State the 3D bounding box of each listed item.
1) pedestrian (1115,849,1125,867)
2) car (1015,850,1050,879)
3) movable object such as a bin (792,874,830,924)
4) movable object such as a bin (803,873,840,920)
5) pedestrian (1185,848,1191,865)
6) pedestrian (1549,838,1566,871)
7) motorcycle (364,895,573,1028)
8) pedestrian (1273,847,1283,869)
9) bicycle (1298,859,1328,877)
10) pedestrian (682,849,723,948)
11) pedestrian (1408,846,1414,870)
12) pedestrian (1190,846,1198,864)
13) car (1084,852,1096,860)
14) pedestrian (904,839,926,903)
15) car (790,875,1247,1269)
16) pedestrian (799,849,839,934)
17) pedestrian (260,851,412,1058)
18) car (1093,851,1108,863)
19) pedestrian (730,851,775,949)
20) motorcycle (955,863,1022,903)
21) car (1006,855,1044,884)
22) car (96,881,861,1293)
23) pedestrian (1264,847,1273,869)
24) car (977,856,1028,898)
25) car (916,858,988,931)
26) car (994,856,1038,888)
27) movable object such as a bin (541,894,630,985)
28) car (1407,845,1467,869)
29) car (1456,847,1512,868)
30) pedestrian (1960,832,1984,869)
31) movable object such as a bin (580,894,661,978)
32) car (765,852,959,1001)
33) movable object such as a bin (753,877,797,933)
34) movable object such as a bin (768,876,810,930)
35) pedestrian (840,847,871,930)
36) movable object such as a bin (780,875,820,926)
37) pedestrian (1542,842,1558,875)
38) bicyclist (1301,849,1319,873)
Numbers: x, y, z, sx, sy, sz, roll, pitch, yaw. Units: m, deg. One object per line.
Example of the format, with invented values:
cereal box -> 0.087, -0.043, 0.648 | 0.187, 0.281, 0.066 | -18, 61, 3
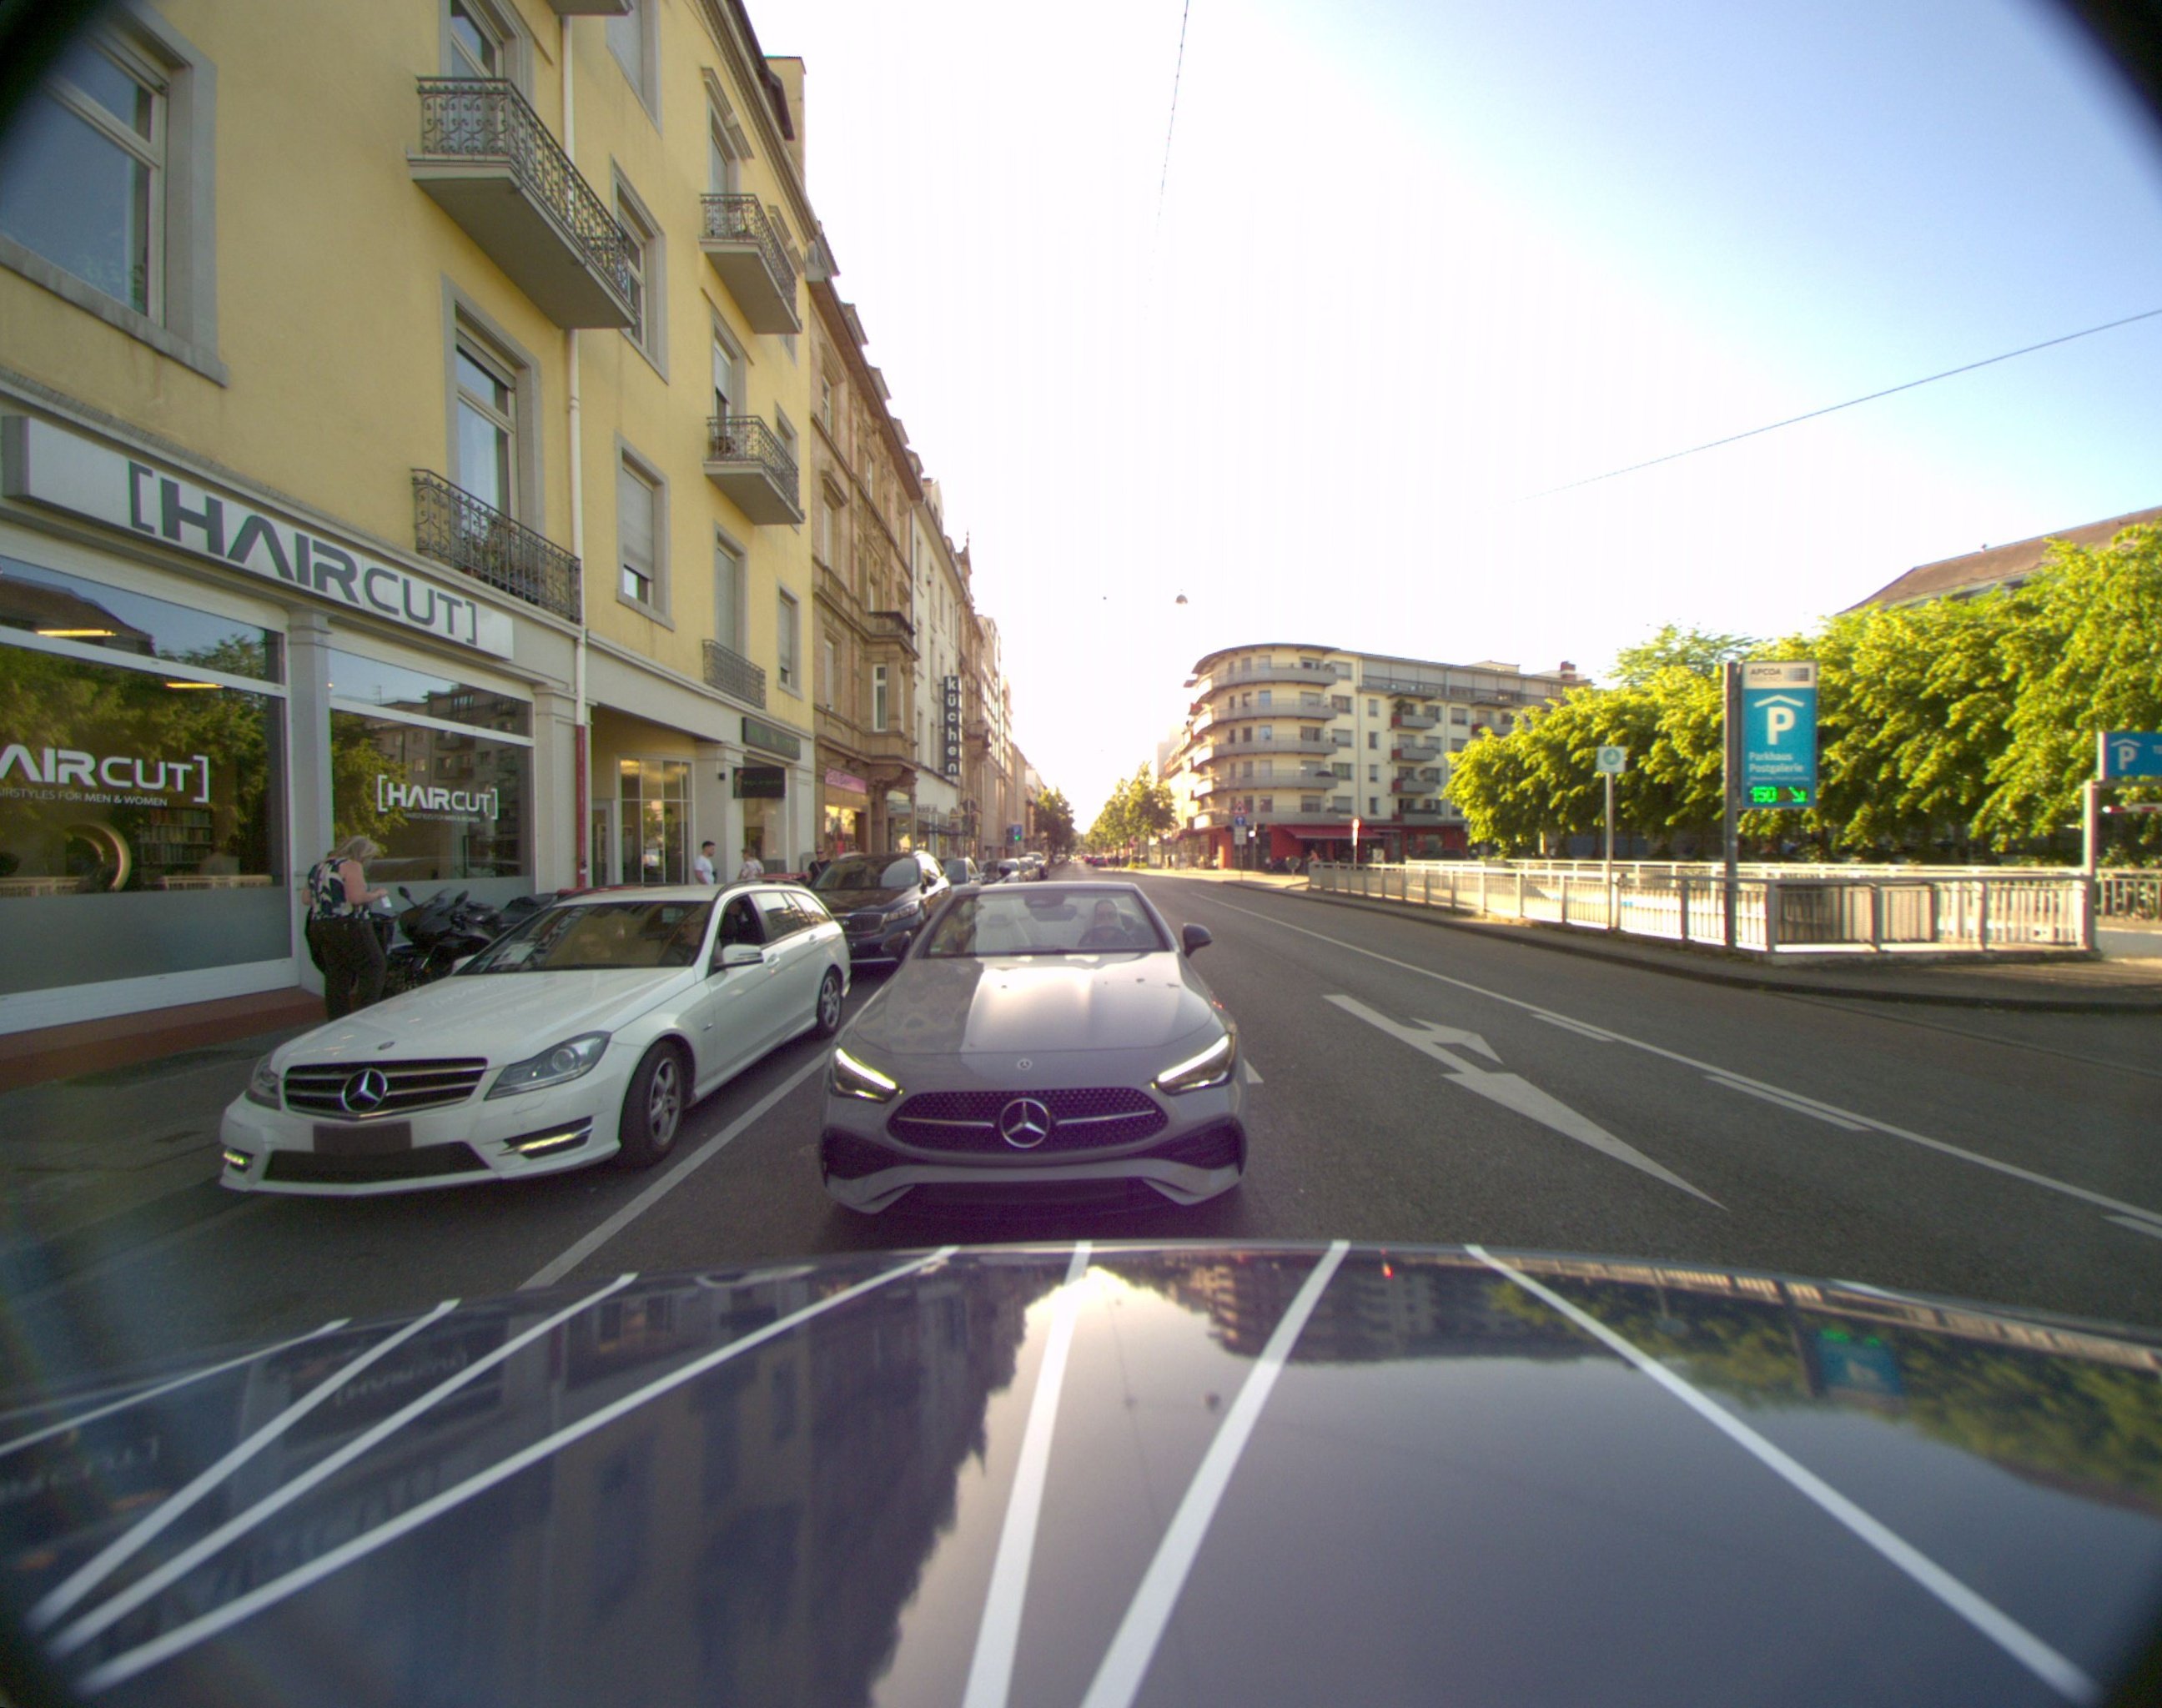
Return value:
pedestrian -> 3.528, 0.339, 68.701 | 0.774, 1.606, 0.696 | -1, 1, -3
car -> -3.003, 0.623, 47.726 | 1.895, 1.680, 4.049 | -1, 0, 0
movable object such as a bin -> -6.064, 1.003, 17.092 | 0.606, 1.060, 0.619 | 2, 1, 0
movable object such as a bin -> -6.057, 0.986, 17.749 | 0.606, 1.060, 0.619 | 2, 1, 0
pedestrian -> 9.810, 0.203, 69.648 | 0.376, 1.521, 0.516 | -2, 1, -3
pedestrian -> 26.432, 0.039, 42.148 | 0.602, 1.782, 0.581 | -3, 2, -40
motorcycle -> -6.214, 1.028, 7.879 | 0.551, 1.085, 2.009 | 0, 0, -1
pedestrian -> 15.393, 0.308, 59.349 | 0.575, 1.698, 0.642 | -1, 1, 3
bicycle -> 16.065, 0.942, 52.647 | 1.868, 1.205, 0.715 | -1, 1, 40
pedestrian -> -6.471, 0.741, 12.988 | 0.337, 1.651, 0.525 | 1, 1, 37
pedestrian -> 23.473, 0.267, 54.015 | 0.322, 1.658, 0.362 | -1, 1, 32
pedestrian -> 10.340, 0.114, 69.521 | 0.570, 1.612, 0.793 | -2, 1, -3
car -> 1.602, 0.317, 131.207 | 1.895, 1.388, 4.255 | -1, 0, -1
pedestrian -> -4.604, 0.463, 21.078 | 0.434, 1.752, 0.481 | -2, 1, 1
car -> -0.247, 0.963, 5.317 | 1.848, 1.440, 4.373 | -1, 0, 0
pedestrian -> -5.134, 0.713, 14.900 | 0.618, 1.623, 0.463 | -2, 1, -6
pedestrian -> -6.071, 0.787, 6.218 | 0.698, 1.623, 0.532 | 0, 1, -2
car -> 2.449, 0.385, 97.500 | 1.806, 1.388, 3.926 | -1, 0, -1
pedestrian -> -5.688, 0.771, 13.173 | 0.594, 1.651, 0.450 | -1, 1, -44
motorcycle -> -3.207, 0.997, 26.542 | 2.178, 1.272, 0.866 | -2, 1, -42
car -> -2.997, 0.800, 41.097 | 1.737, 1.409, 3.802 | -1, 0, 0
car -> -3.060, 1.017, 5.289 | 1.743, 1.438, 4.463 | -1, 0, 0
pedestrian -> 14.782, 0.322, 59.892 | 0.575, 1.698, 0.642 | -1, 1, 3
car -> -3.078, 0.854, 30.547 | 1.737, 1.509, 4.164 | -1, 0, -2
car -> -2.981, 0.891, 17.915 | 1.275, 1.509, 2.794 | -1, 0, -2
car -> -3.075, 0.836, 36.637 | 1.737, 1.409, 3.802 | -1, 0, 0
movable object such as a bin -> -6.121, 1.042, 9.412 | 0.661, 1.035, 0.619 | 2, 1, 3
car -> 29.306, 0.230, 62.546 | 4.432, 1.901, 1.951 | -2, 1, -24
car -> 34.280, 0.308, 64.679 | 4.300, 1.611, 1.951 | -2, 1, -24
pedestrian -> 43.722, -0.187, 37.302 | 0.602, 1.782, 0.581 | -2, 1, -20
movable object such as a bin -> -6.077, 1.065, 10.052 | 0.669, 1.019, 0.619 | 2, 1, 3
car -> -2.979, 0.855, 11.372 | 1.760, 1.726, 4.571 | -1, 0, -3
movable object such as a bin -> -6.110, 1.013, 15.197 | 0.606, 1.060, 0.619 | 2, 1, 0
movable object such as a bin -> -6.086, 1.005, 15.844 | 0.606, 1.060, 0.619 | 2, 1, 0
pedestrian -> -4.516, 0.678, 15.250 | 0.414, 1.623, 0.515 | -1, 1, 1
movable object such as a bin -> -6.075, 0.998, 16.459 | 0.606, 1.060, 0.619 | 2, 1, 0
pedestrian -> 25.613, 0.223, 41.482 | 0.602, 1.782, 0.581 | -3, 2, -45
bicyclist -> 15.912, 0.490, 52.748 | 0.973, 1.605, 0.715 | -1, 1, 40
